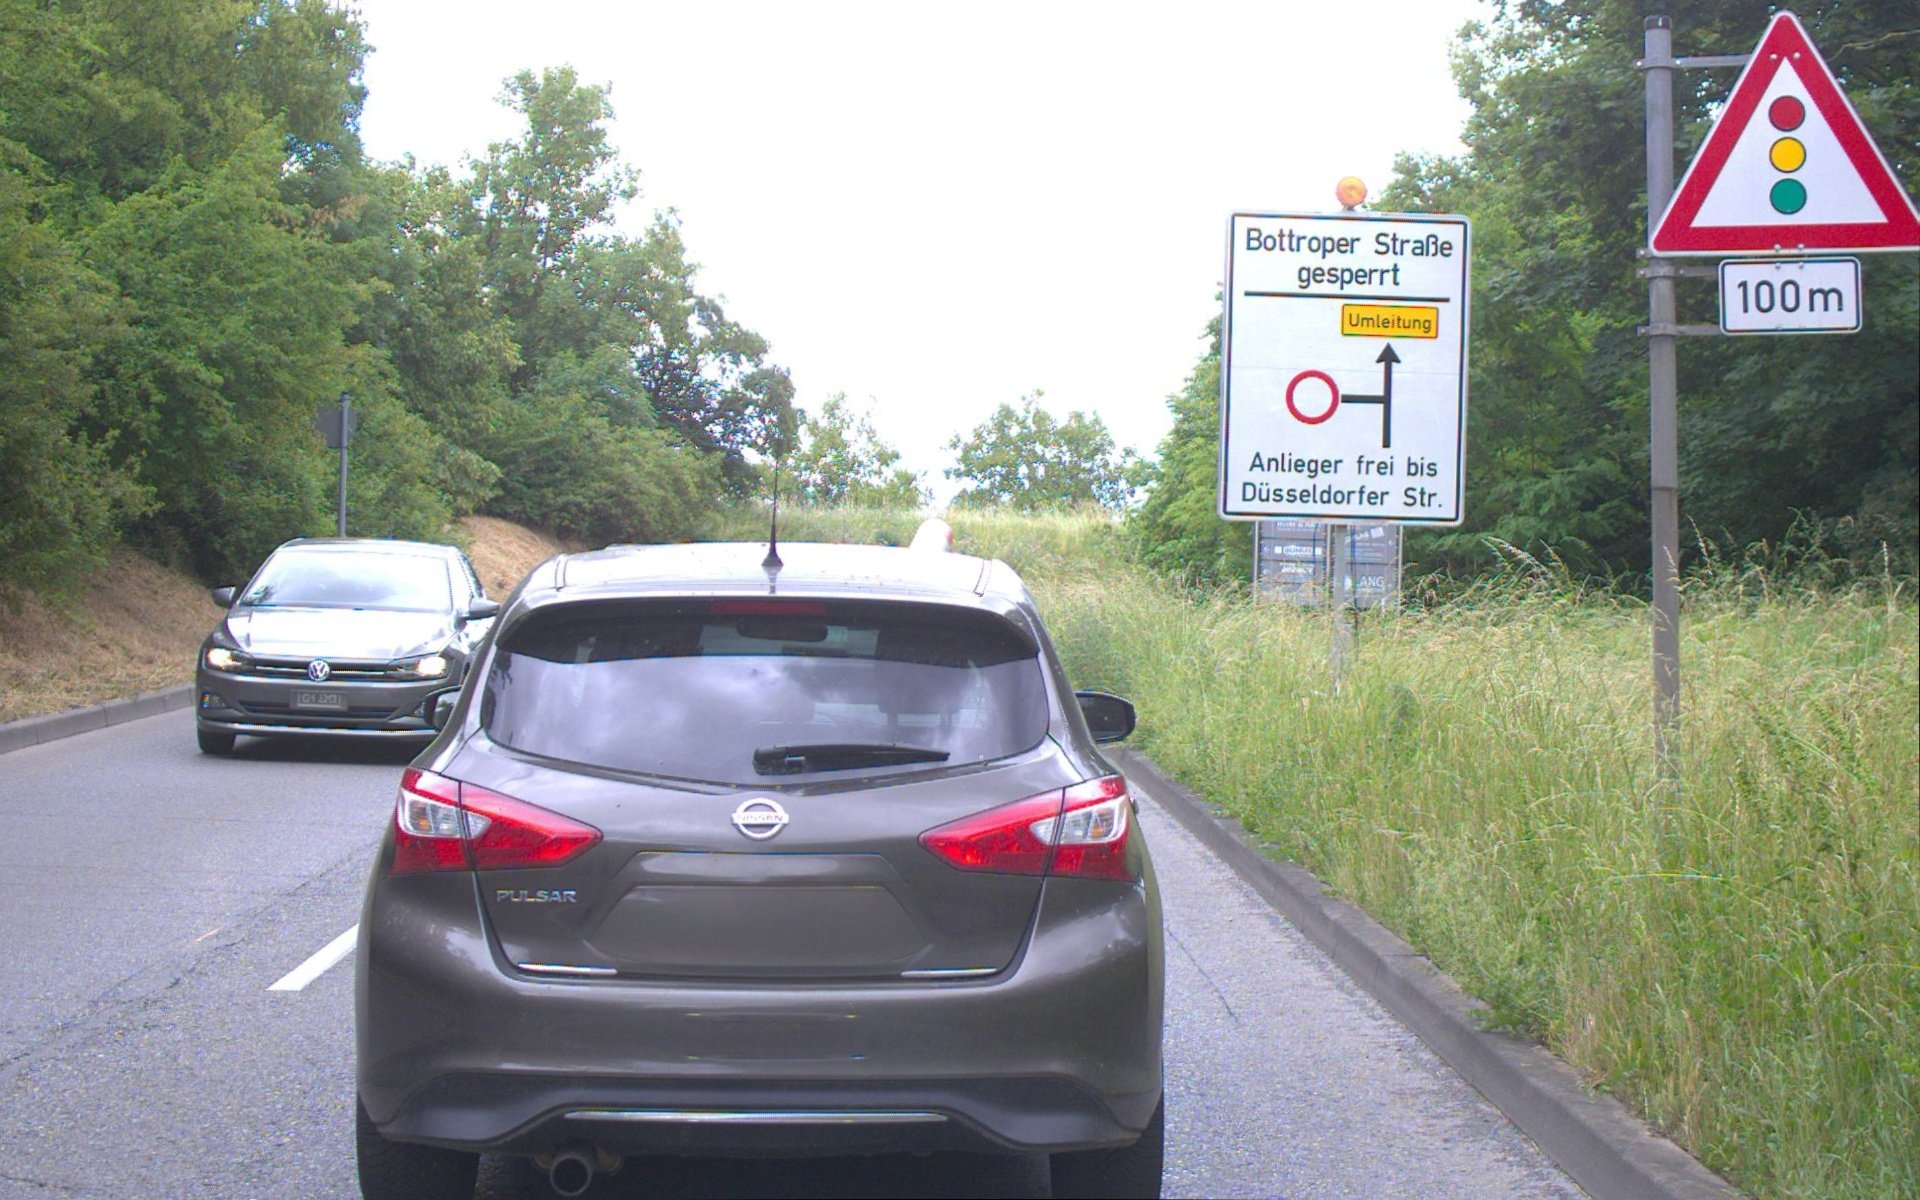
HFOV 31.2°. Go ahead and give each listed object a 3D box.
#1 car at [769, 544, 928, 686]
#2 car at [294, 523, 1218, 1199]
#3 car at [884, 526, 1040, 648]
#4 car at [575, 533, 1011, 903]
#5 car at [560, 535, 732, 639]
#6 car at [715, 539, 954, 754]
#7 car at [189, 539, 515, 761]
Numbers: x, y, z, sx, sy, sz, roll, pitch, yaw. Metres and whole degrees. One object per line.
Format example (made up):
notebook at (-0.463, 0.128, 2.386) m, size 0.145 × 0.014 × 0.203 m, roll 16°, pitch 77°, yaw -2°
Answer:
car at (-1.247, 0.135, 39.766) m, size 1.736 × 1.551 × 3.544 m, roll 0°, pitch 1°, yaw 0°
car at (-0.475, 0.598, 8.597) m, size 1.830 × 1.551 × 3.500 m, roll 0°, pitch 1°, yaw -2°
car at (0.069, -0.237, 56.243) m, size 1.737 × 1.928 × 3.541 m, roll 0°, pitch 1°, yaw 14°
car at (-0.714, 0.465, 16.300) m, size 1.830 × 1.551 × 3.625 m, roll 0°, pitch 1°, yaw 0°
car at (-4.631, -0.203, 51.239) m, size 1.643 × 1.395 × 3.820 m, roll 4°, pitch 1°, yaw 8°
car at (-0.922, 0.308, 26.810) m, size 1.736 × 1.551 × 3.544 m, roll 0°, pitch 1°, yaw 0°
car at (-4.108, 0.284, 23.726) m, size 1.642 × 1.395 × 3.822 m, roll 0°, pitch 1°, yaw -1°
